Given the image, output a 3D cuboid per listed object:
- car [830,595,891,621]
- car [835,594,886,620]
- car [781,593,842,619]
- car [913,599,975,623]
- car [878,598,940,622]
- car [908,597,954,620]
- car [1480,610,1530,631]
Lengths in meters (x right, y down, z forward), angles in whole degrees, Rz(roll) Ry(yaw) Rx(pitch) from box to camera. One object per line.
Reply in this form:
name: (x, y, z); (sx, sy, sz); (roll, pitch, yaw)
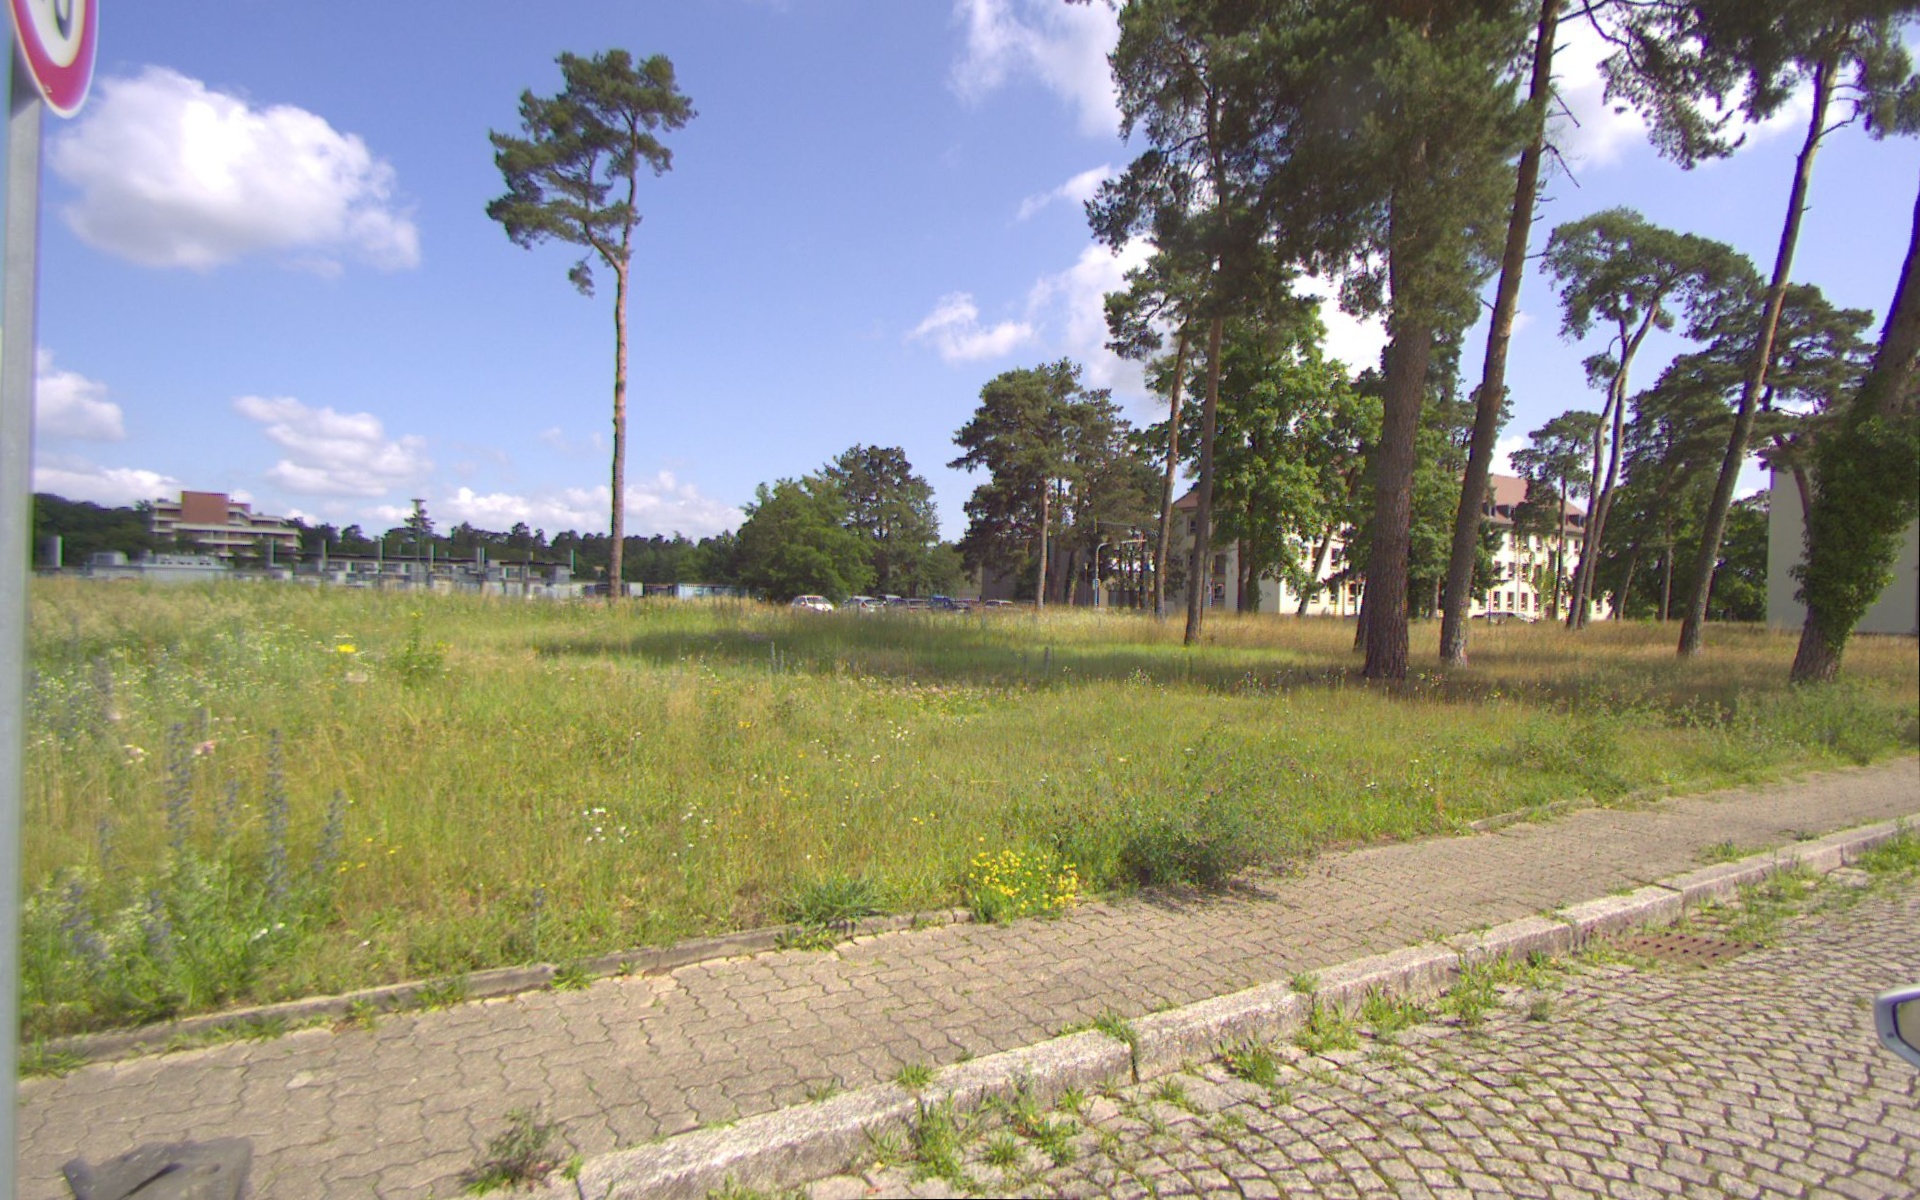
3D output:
car: (-5.736, 0.445, 57.736); (1.880, 1.356, 4.043); (2, -1, -32)
car: (-6.838, 0.460, 69.031); (1.880, 1.725, 4.043); (2, -1, -32)
car: (-8.330, 0.346, 56.045); (1.880, 1.367, 4.035); (2, -1, -32)
car: (-0.975, 0.644, 59.787); (1.880, 1.327, 4.043); (2, -1, -32)
car: (-3.040, 0.564, 58.660); (1.880, 1.337, 4.043); (2, -1, -32)
car: (-2.374, 0.688, 81.605); (1.880, 1.804, 4.043); (2, -1, -32)
car: (54.046, 2.036, 99.723); (1.693, 2.018, 4.039); (1, 0, -30)
